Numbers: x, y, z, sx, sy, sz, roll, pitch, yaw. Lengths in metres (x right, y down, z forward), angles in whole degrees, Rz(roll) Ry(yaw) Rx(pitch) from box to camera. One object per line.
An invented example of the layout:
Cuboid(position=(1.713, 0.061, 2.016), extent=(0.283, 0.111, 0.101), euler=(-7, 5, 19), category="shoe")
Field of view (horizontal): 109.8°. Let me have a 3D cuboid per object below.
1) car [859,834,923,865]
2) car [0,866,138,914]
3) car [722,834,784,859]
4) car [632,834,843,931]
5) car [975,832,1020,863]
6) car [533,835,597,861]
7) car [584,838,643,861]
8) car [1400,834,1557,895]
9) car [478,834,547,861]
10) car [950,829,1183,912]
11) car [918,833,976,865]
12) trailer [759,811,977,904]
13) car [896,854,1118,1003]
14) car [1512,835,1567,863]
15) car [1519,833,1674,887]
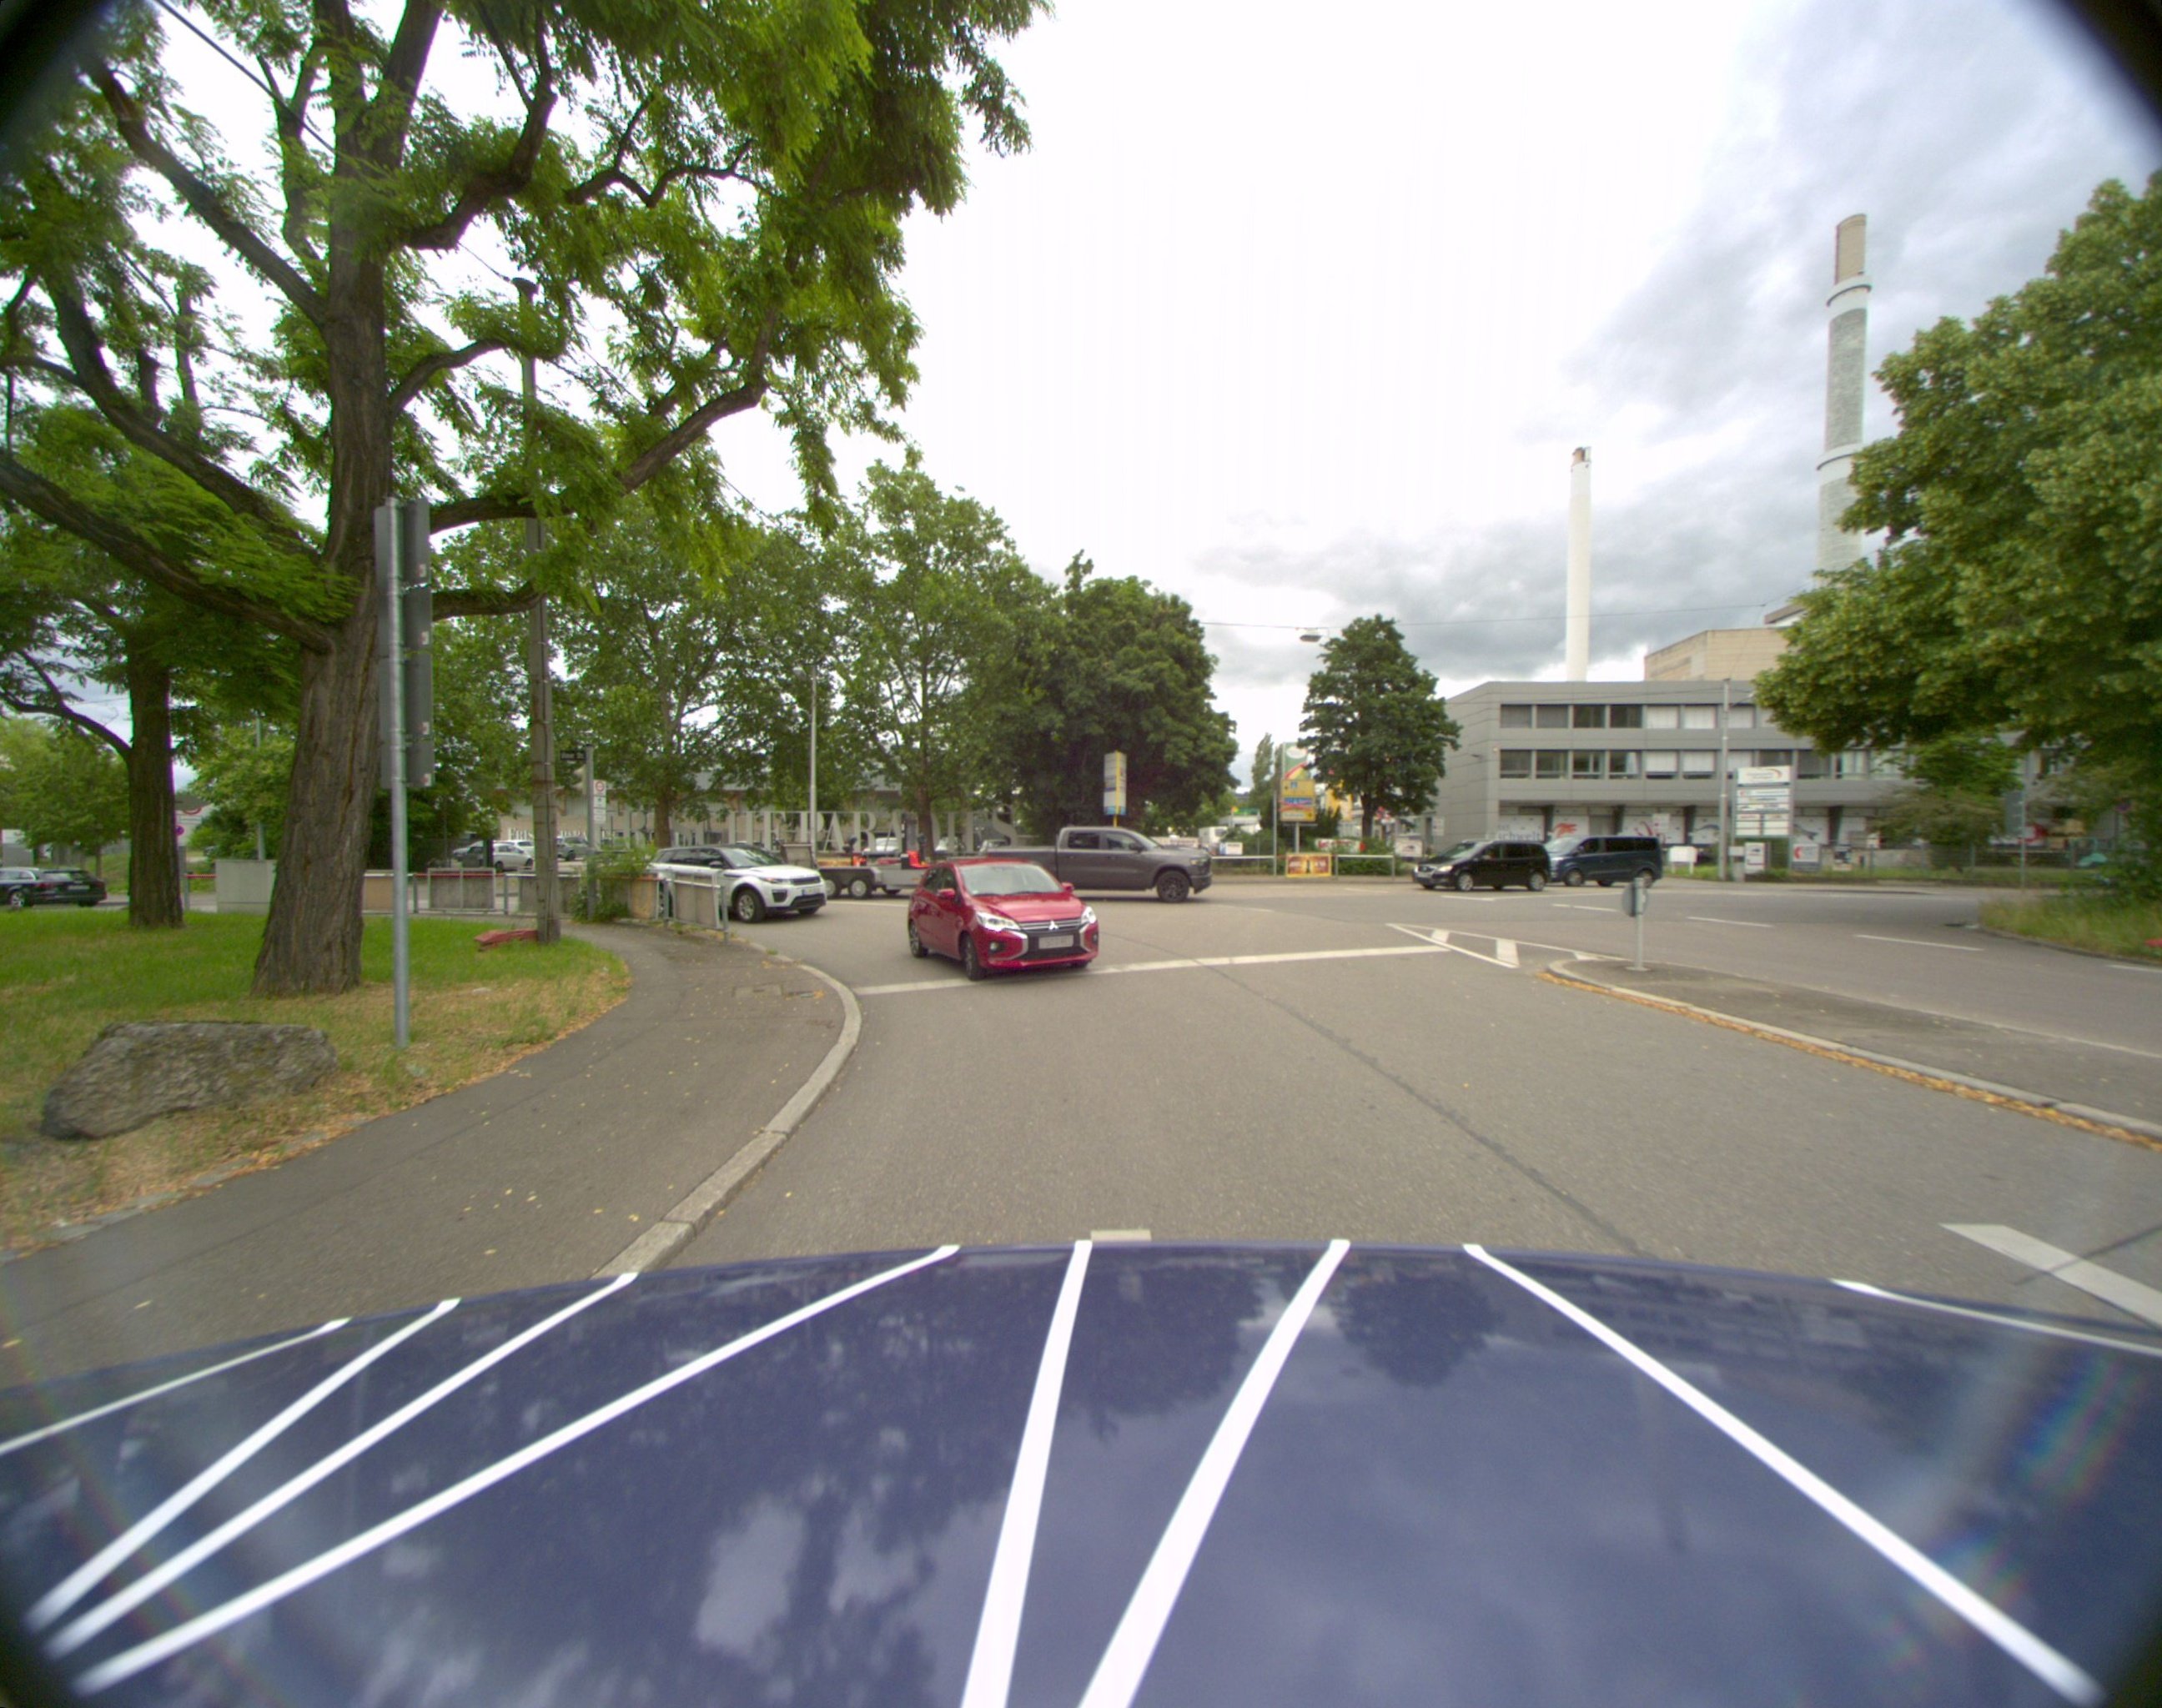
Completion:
Cuboid(position=(-10.418, -0.293, 42.062), extent=(1.998, 1.449, 4.699), euler=(-3, 3, 4), category="car")
Cuboid(position=(-36.103, 1.201, 26.111), extent=(5.215, 1.447, 2.003), euler=(2, -5, 6), category="car")
Cuboid(position=(-22.785, -0.575, 53.025), extent=(1.937, 1.423, 5.249), euler=(-3, 3, 0), category="car")
Cuboid(position=(-7.615, 0.531, 16.911), extent=(4.102, 1.562, 1.919), euler=(5, 7, 22), category="car")
Cuboid(position=(-4.571, -0.399, 42.193), extent=(1.999, 1.449, 4.697), euler=(-3, 3, -1), category="car")
Cuboid(position=(-35.309, -0.429, 52.131), extent=(1.916, 1.690, 3.997), euler=(0, 1, -5), category="car")
Cuboid(position=(-32.092, -0.314, 52.300), extent=(1.916, 1.499, 3.997), euler=(0, 1, -5), category="car")
Cuboid(position=(12.590, 0.319, 24.127), extent=(4.232, 1.761, 1.830), euler=(2, 1, -14), category="car")
Cuboid(position=(-38.336, -0.449, 51.384), extent=(1.916, 1.690, 3.997), euler=(0, 1, -5), category="car")
Cuboid(position=(-0.317, 0.364, 20.114), extent=(5.861, 1.969, 1.951), euler=(1, 3, 10), category="car")
Cuboid(position=(-7.291, -0.302, 41.732), extent=(1.998, 1.449, 4.699), euler=(-3, 3, 4), category="car")
Cuboid(position=(-5.801, 0.072, 21.037), extent=(5.379, 2.374, 2.152), euler=(0, 1, 10), category="trailer")
Cuboid(position=(-1.201, 0.842, 10.583), extent=(1.770, 1.521, 3.731), euler=(-2, 3, -28), category="car")
Cuboid(position=(30.282, -0.360, 50.264), extent=(1.775, 1.669, 3.572), euler=(-3, 3, 7), category="car")
Cuboid(position=(19.448, 0.201, 28.781), extent=(4.802, 1.934, 1.832), euler=(0, 1, -6), category="car")
